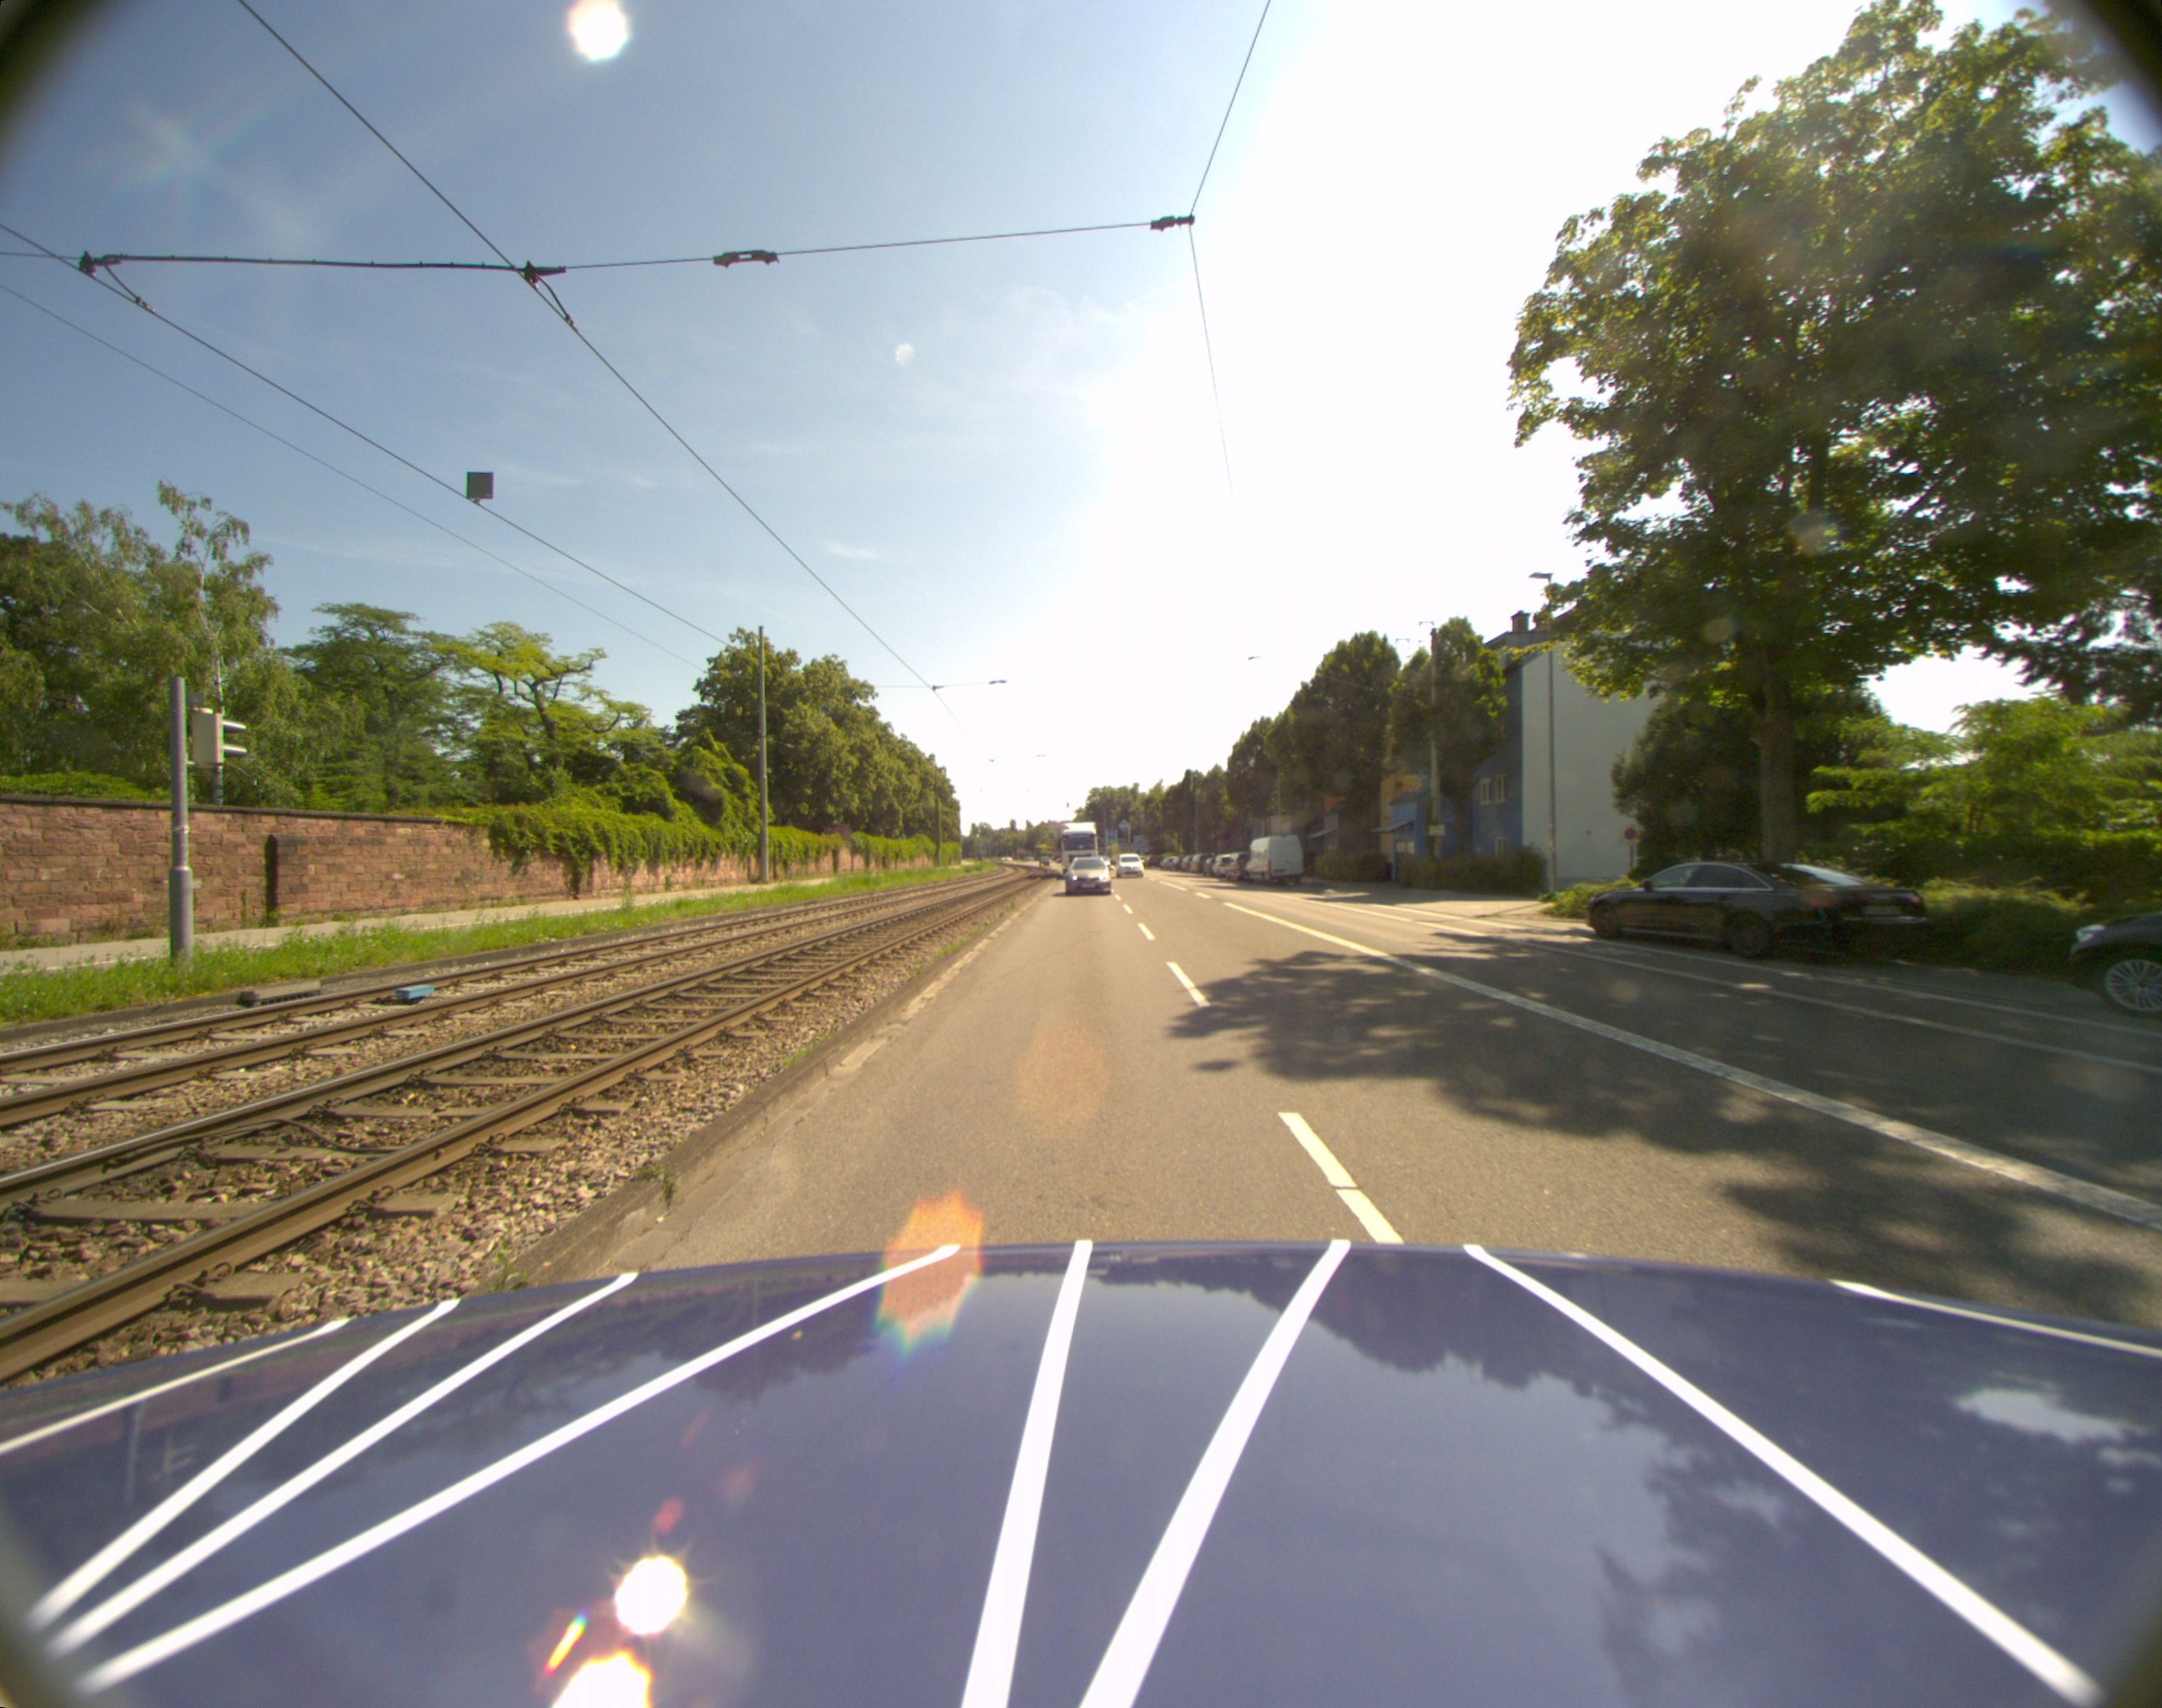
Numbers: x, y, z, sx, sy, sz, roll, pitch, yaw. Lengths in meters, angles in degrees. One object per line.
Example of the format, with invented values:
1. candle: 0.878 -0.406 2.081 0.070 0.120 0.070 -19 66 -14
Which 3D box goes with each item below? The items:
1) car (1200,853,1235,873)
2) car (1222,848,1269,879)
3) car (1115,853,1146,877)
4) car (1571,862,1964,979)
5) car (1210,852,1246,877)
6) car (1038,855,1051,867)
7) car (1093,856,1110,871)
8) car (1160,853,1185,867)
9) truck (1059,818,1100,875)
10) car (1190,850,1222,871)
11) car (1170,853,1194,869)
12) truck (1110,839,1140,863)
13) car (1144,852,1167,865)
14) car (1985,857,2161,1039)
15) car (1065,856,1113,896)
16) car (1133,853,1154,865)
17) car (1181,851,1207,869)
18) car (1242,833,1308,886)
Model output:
1. car: 11.195 0.718 62.394 1.871 1.447 4.074 -4 1 -3
2. car: 11.116 0.619 51.673 1.998 1.855 4.966 -5 0 1
3. car: 3.347 0.729 52.327 1.784 1.538 4.394 -2 0 0
4. car: 10.612 0.895 12.433 1.845 1.457 4.908 0 0 -3
5. car: 10.995 0.741 57.207 1.853 1.693 4.540 -4 1 1
6. car: -5.595 1.102 115.865 1.854 1.707 3.999 -2 1 -2
7. car: 2.165 0.988 81.251 1.659 1.517 3.792 0 0 0
8. car: 10.290 0.662 85.736 1.682 1.437 4.835 -2 1 -6
9. truck: -0.049 -0.503 58.178 2.805 3.926 11.943 0 0 1
10. car: 11.073 0.539 67.670 1.834 1.718 4.348 -3 1 -3
11. car: 10.482 0.699 79.060 1.681 1.462 4.212 -2 1 -4
12. truck: 6.701 -0.435 117.084 3.165 3.533 8.779 0 0 -6
13. car: 9.470 0.568 97.183 1.911 1.567 4.929 -2 1 -6
14. car: 10.556 0.848 5.692 1.766 1.596 4.893 -1 0 0
15. car: 0.335 0.841 30.875 1.747 1.421 5.041 -1 0 1
16. car: 8.600 0.687 105.091 2.040 1.490 4.130 -2 1 -6
17. car: 10.771 0.534 72.726 1.681 1.598 4.164 -2 1 -3
18. car: 10.987 0.281 43.612 1.998 2.661 7.086 -4 0 1
